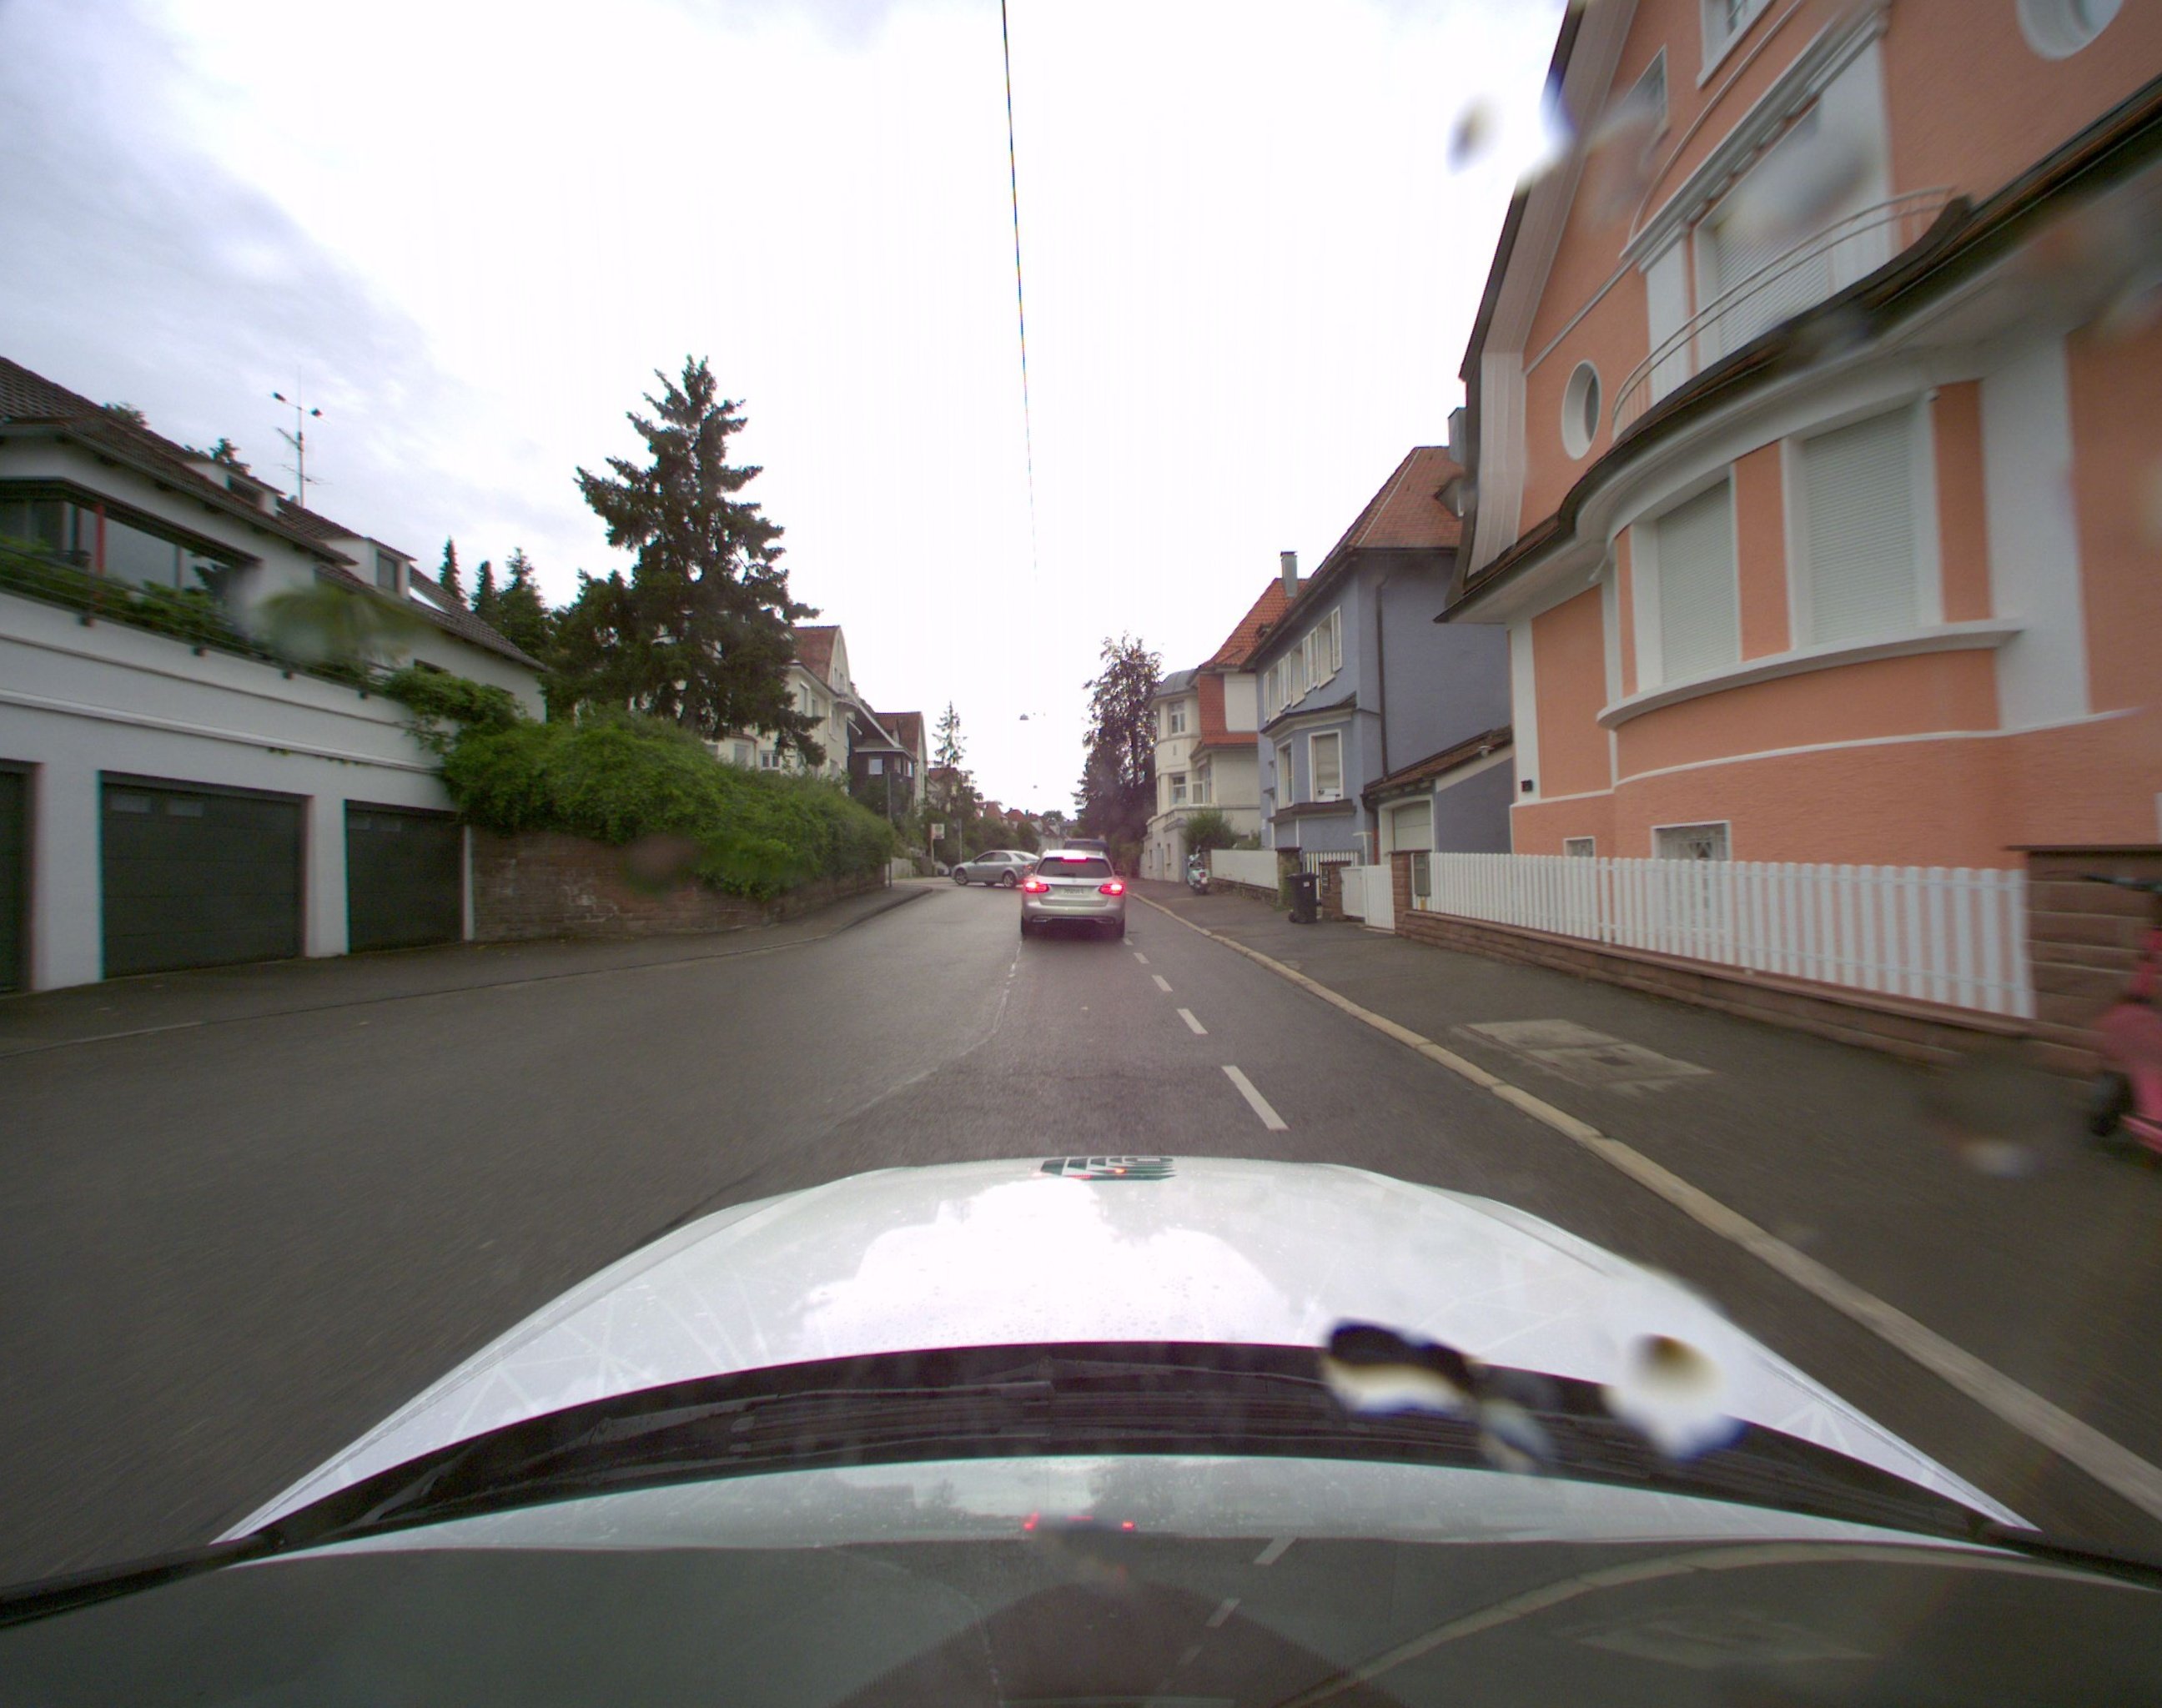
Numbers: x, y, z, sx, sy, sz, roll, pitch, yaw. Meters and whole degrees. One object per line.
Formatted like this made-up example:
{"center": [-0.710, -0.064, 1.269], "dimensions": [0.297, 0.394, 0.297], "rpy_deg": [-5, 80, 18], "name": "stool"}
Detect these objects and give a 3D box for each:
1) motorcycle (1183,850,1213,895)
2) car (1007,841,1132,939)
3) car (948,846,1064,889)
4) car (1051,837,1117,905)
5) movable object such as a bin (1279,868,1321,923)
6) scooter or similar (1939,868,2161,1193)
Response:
{"center": [3.561, 0.534, 24.865], "dimensions": [0.579, 1.261, 2.332], "rpy_deg": [-3, 0, 2], "name": "motorcycle"}
{"center": [-0.180, 0.547, 15.080], "dimensions": [1.976, 1.553, 4.297], "rpy_deg": [0, 0, 0], "name": "car"}
{"center": [-2.946, 0.470, 31.473], "dimensions": [4.277, 1.539, 2.013], "rpy_deg": [0, 1, 40], "name": "car"}
{"center": [0.130, 0.456, 25.183], "dimensions": [1.817, 1.882, 4.096], "rpy_deg": [-2, 1, 1], "name": "car"}
{"center": [4.064, 0.761, 15.163], "dimensions": [0.547, 0.936, 0.633], "rpy_deg": [-4, 0, -1], "name": "movable object such as a bin"}
{"center": [4.556, 0.695, 3.383], "dimensions": [0.689, 1.224, 1.302], "rpy_deg": [-1, 0, 6], "name": "scooter or similar"}
